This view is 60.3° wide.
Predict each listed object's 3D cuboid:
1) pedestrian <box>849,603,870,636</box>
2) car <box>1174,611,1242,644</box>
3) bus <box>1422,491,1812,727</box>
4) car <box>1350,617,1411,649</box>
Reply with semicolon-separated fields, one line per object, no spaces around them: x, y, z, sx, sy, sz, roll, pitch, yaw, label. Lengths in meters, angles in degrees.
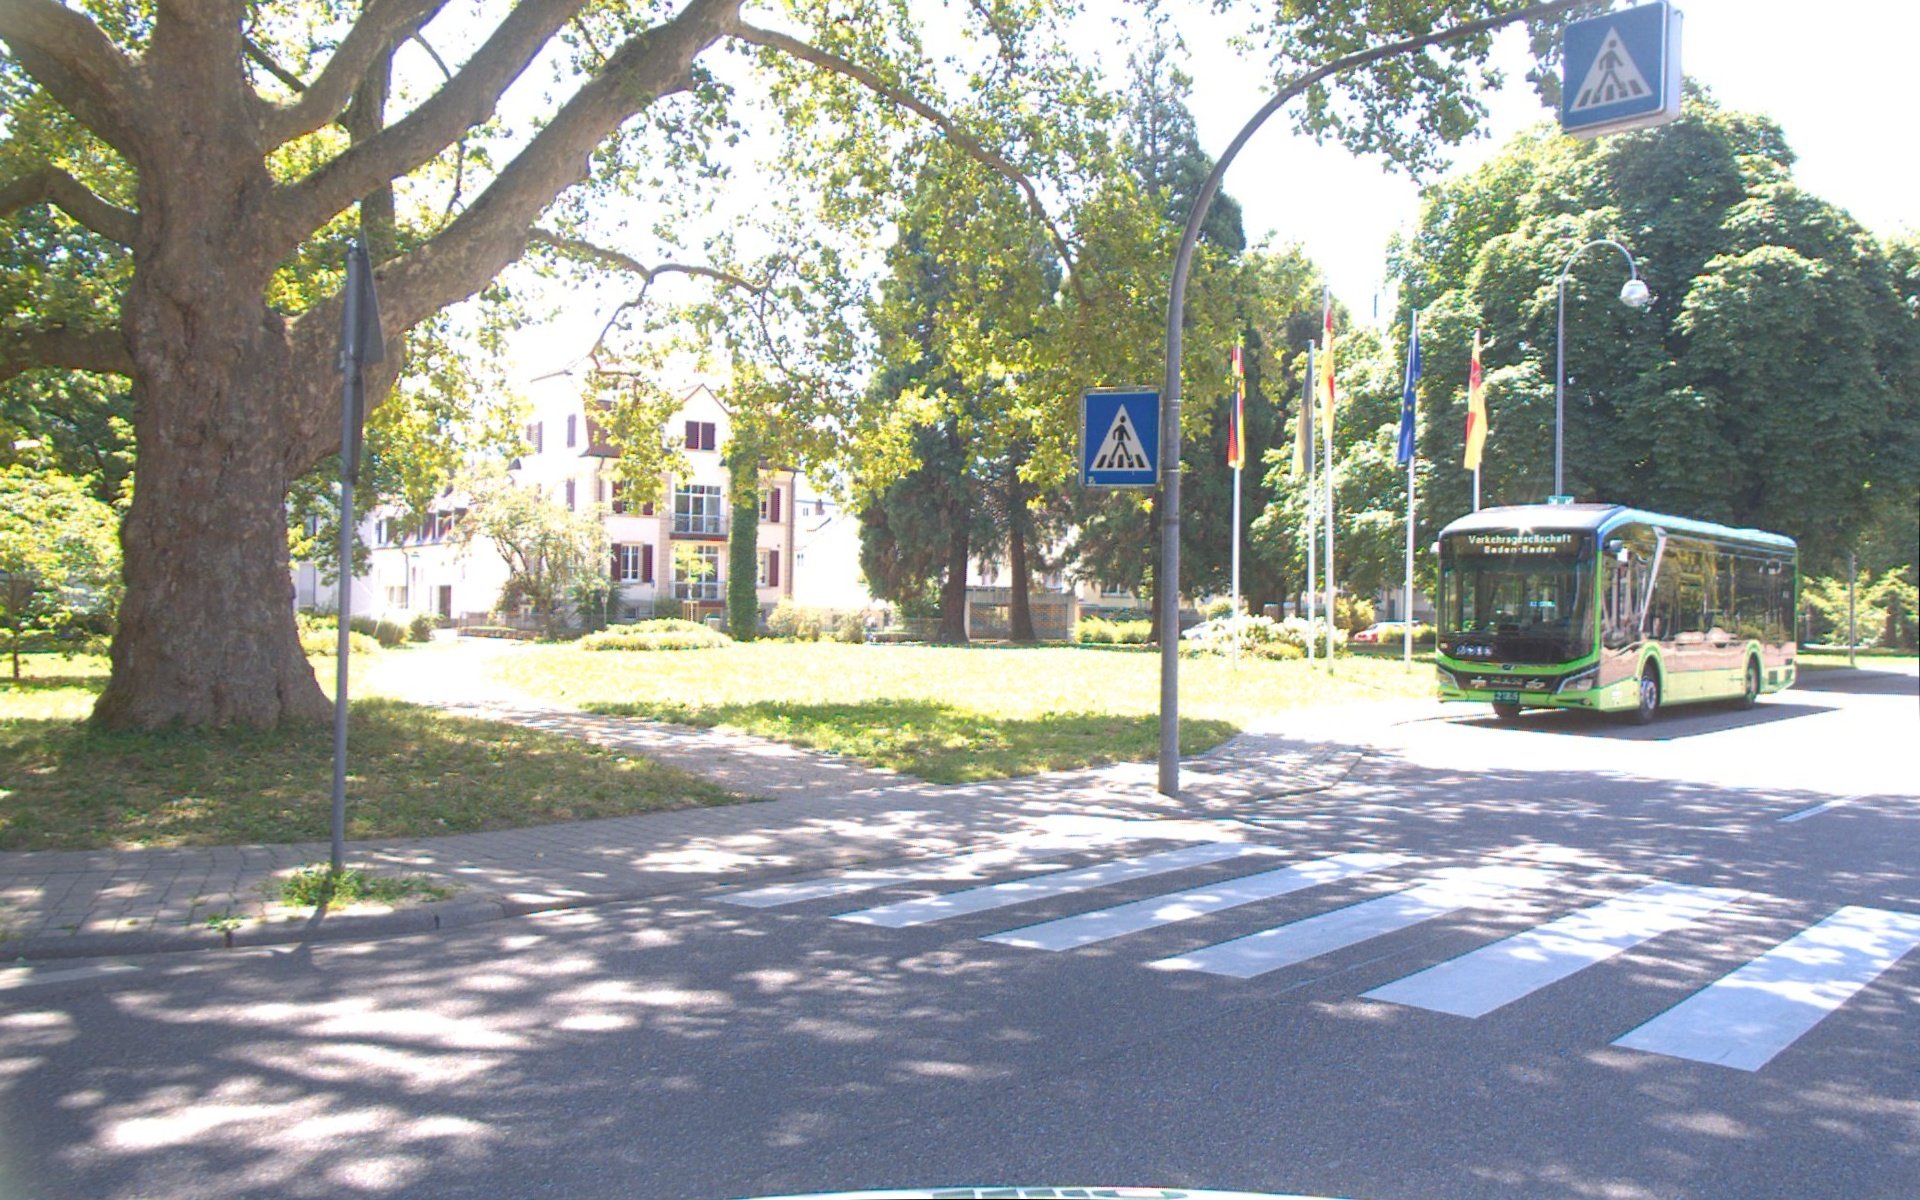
-4.340;0.846;71.591;0.808;1.394;0.618;3;0;0;pedestrian
14.815;1.646;98.736;3.961;1.782;1.850;2;0;-39;car
12.013;0.169;29.083;2.765;3.340;12.361;0;0;39;bus
27.496;2.162;108.105;3.961;1.870;1.850;3;0;-39;car
